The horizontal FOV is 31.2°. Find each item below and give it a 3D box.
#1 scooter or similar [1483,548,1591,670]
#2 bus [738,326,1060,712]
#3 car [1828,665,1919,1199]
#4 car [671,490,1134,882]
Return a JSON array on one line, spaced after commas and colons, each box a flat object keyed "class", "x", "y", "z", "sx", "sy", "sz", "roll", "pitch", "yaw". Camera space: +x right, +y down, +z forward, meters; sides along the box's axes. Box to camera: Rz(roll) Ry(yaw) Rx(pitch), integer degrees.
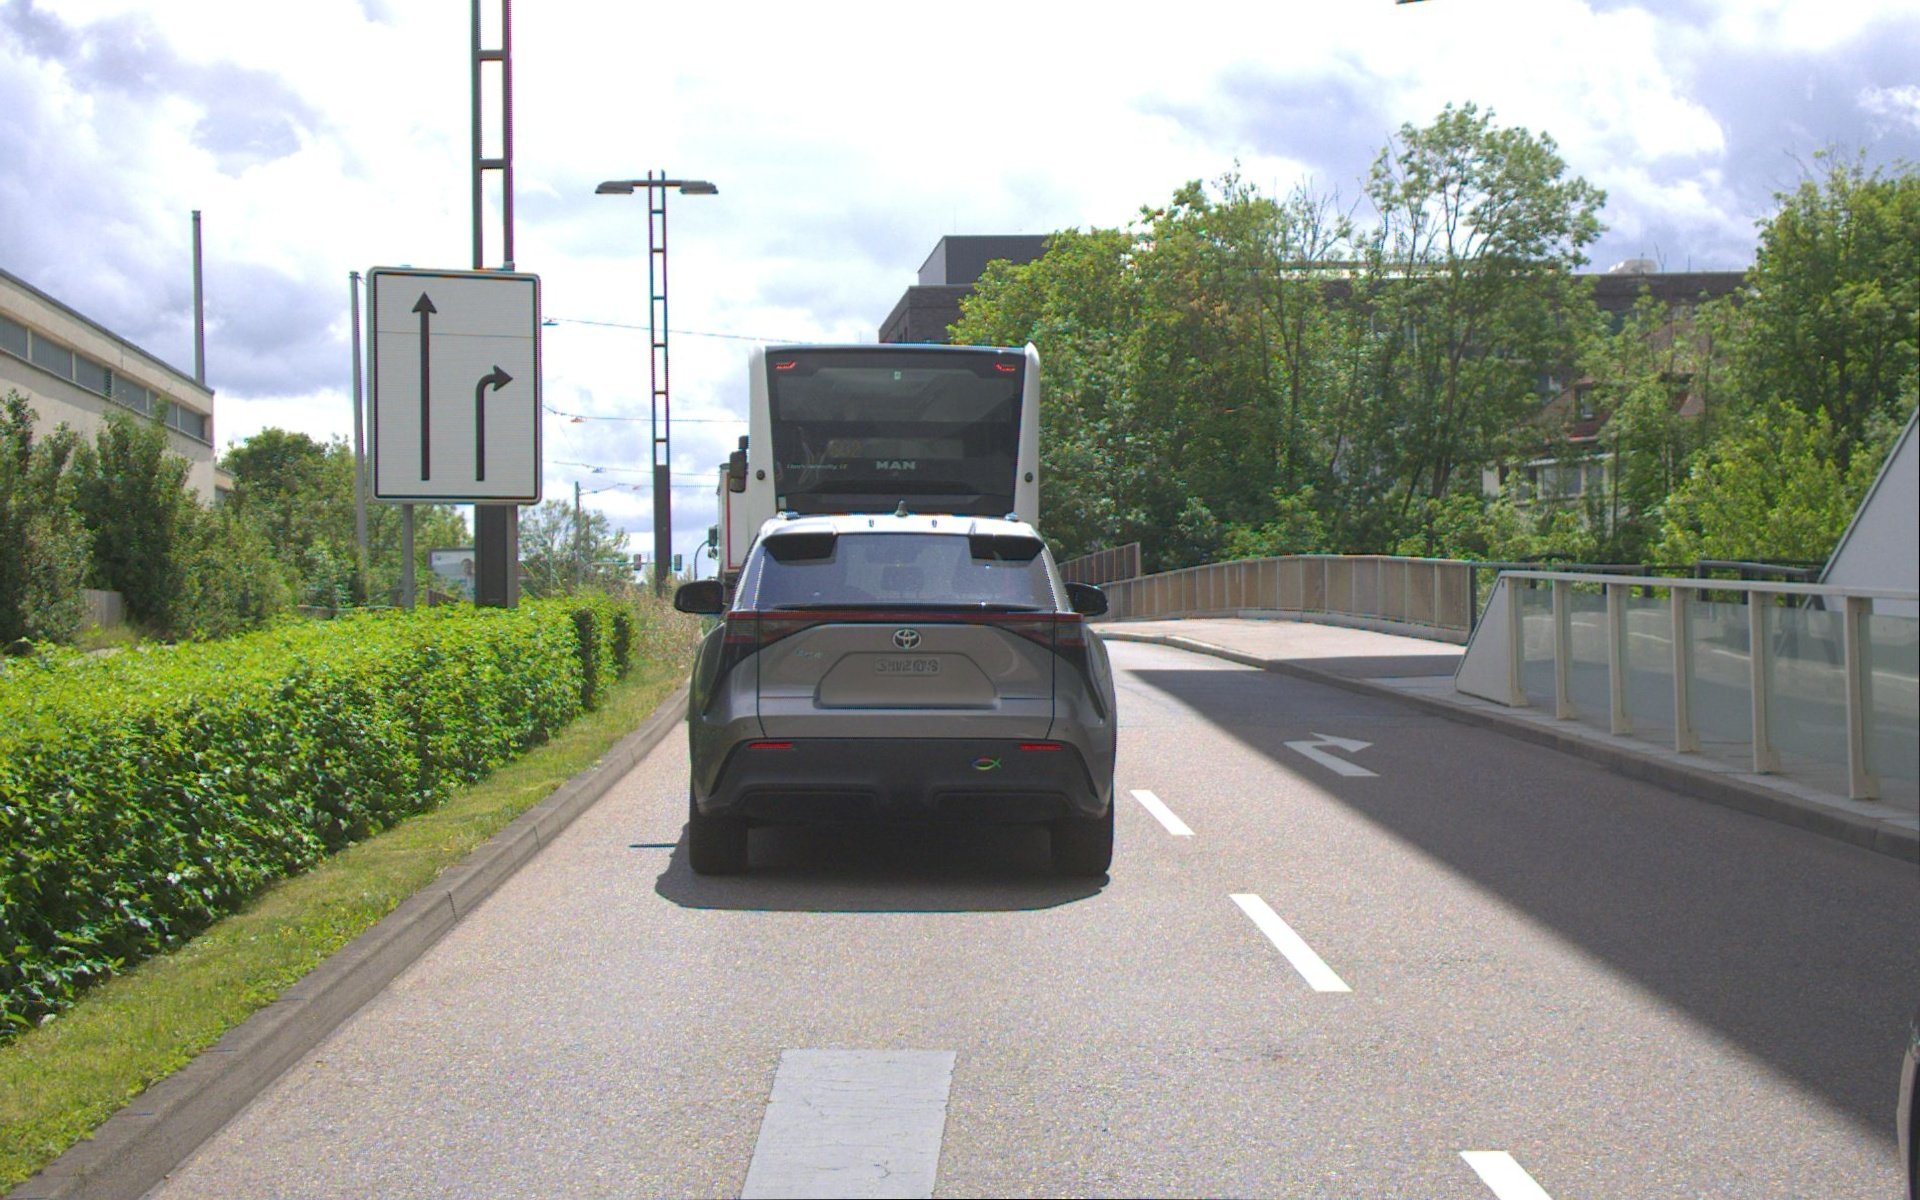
[{"class": "scooter or similar", "x": 5.958, "y": 0.084, "z": 35.577, "sx": 0.653, "sy": 1.210, "sz": 1.858, "roll": -2, "pitch": 1, "yaw": -4}, {"class": "bus", "x": -0.540, "y": -0.873, "z": 35.142, "sx": 2.689, "sy": 3.244, "sz": 12.058, "roll": 1, "pitch": 2, "yaw": 0}, {"class": "car", "x": 2.557, "y": 0.786, "z": 4.569, "sx": 1.720, "sy": 1.271, "sz": 4.088, "roll": 0, "pitch": 1, "yaw": -1}, {"class": "car", "x": -0.292, "y": 0.330, "z": 16.165, "sx": 1.879, "sy": 1.588, "sz": 4.230, "roll": 0, "pitch": 1, "yaw": -2}]
